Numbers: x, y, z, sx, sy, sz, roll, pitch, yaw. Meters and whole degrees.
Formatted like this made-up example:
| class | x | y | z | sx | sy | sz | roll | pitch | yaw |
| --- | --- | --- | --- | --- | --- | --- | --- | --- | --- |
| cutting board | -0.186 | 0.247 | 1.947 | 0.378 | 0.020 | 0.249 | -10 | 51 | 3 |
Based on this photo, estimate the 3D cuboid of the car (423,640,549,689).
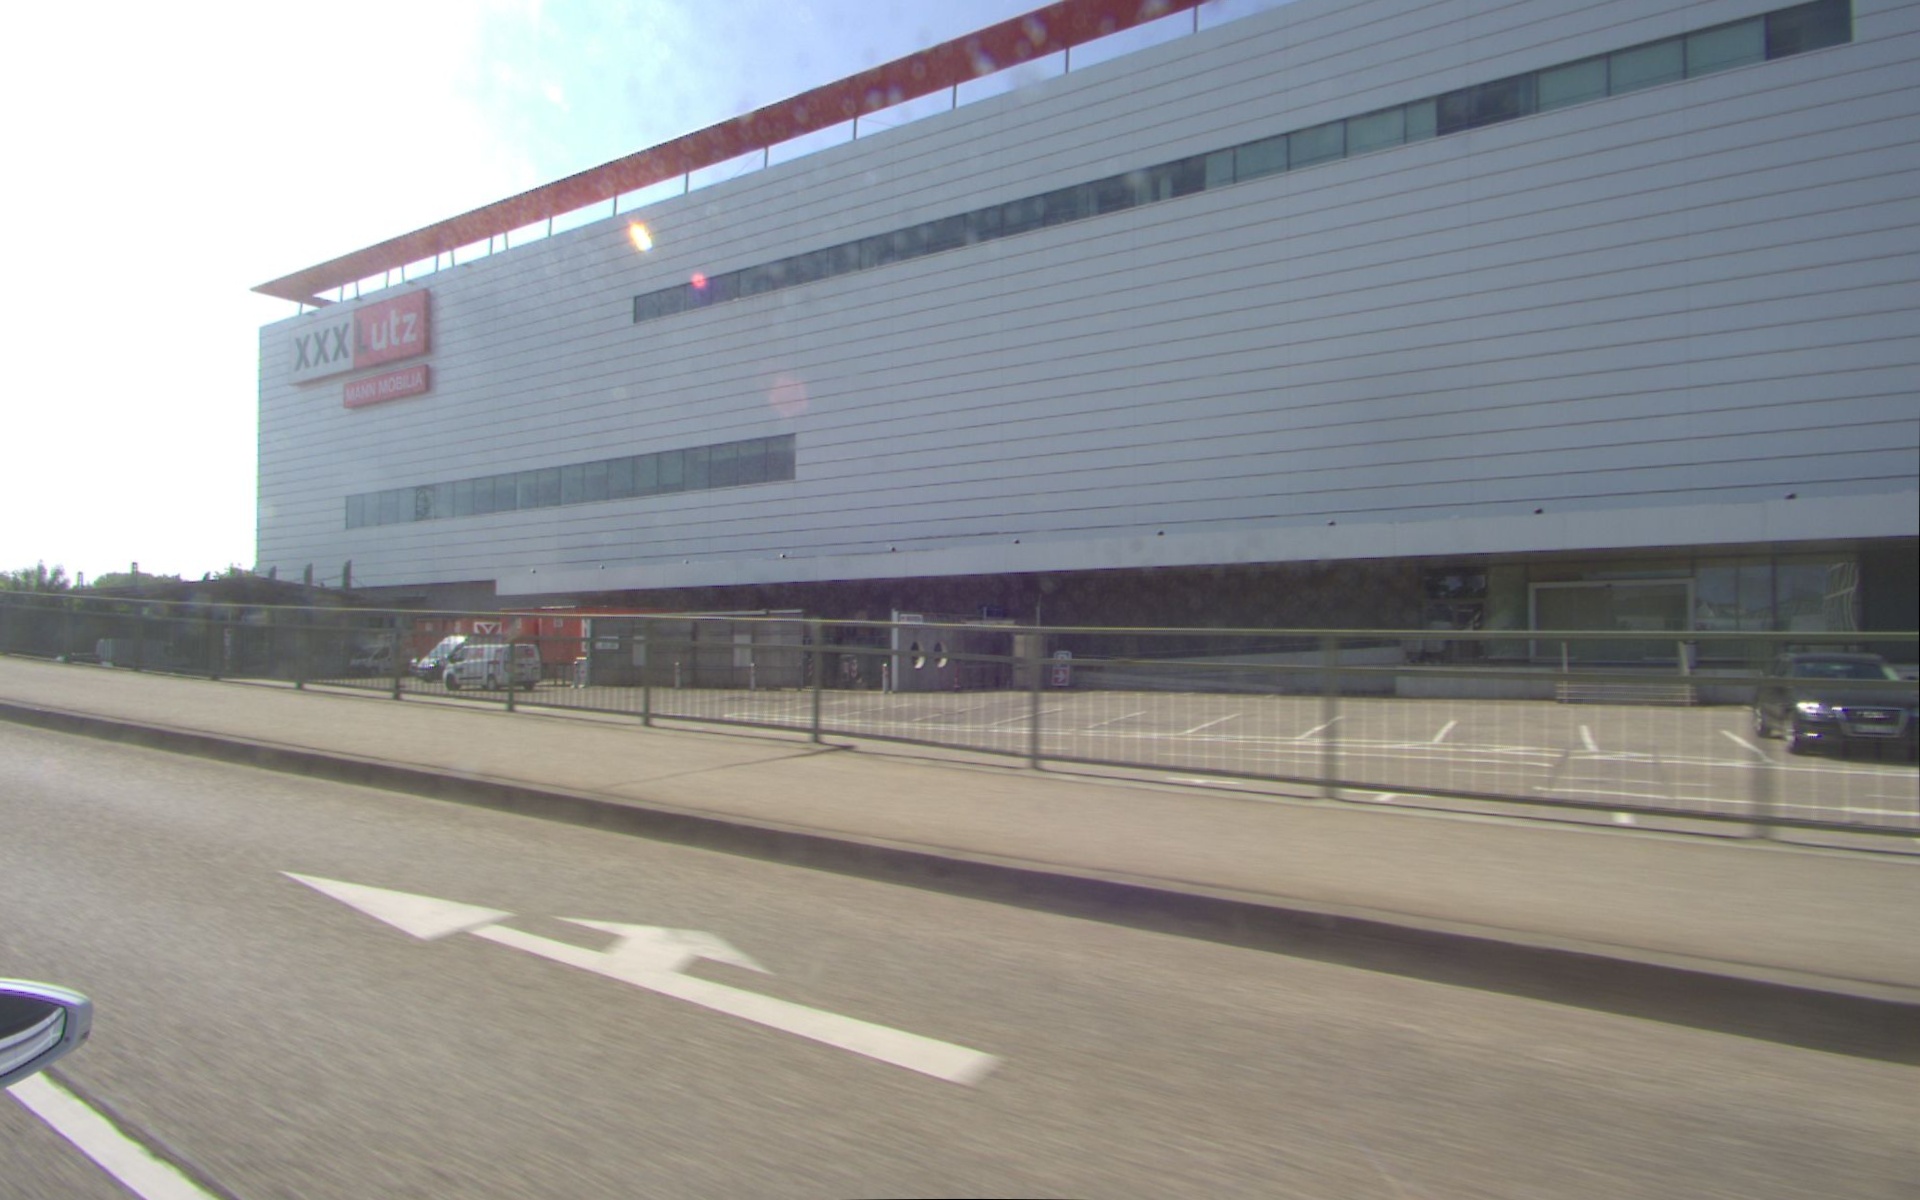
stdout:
| class | x | y | z | sx | sy | sz | roll | pitch | yaw |
| --- | --- | --- | --- | --- | --- | --- | --- | --- | --- |
| car | -21.088 | 2.804 | 44.460 | 5.924 | 2.031 | 2.122 | -1 | -1 | 31 |

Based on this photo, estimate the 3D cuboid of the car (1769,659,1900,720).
| class | x | y | z | sx | sy | sz | roll | pitch | yaw |
| --- | --- | --- | --- | --- | --- | --- | --- | --- | --- |
| car | 22.496 | 2.262 | 25.919 | 1.783 | 1.393 | 3.856 | 0 | -3 | 29 |

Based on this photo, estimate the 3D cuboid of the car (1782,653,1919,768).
| class | x | y | z | sx | sy | sz | roll | pitch | yaw |
| --- | --- | --- | --- | --- | --- | --- | --- | --- | --- |
| car | 15.565 | 1.806 | 17.459 | 1.840 | 1.753 | 4.387 | -2 | -3 | 39 |

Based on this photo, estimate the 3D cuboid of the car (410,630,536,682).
| class | x | y | z | sx | sy | sz | roll | pitch | yaw |
| --- | --- | --- | --- | --- | --- | --- | --- | --- | --- |
| car | -26.234 | 3.024 | 54.220 | 2.100 | 2.653 | 5.988 | -1 | -3 | 30 |

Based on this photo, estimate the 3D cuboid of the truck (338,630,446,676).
| class | x | y | z | sx | sy | sz | roll | pitch | yaw |
| --- | --- | --- | --- | --- | --- | --- | --- | --- | --- |
| truck | -38.206 | 3.555 | 67.522 | 2.102 | 2.963 | 5.983 | -1 | -3 | 33 |
